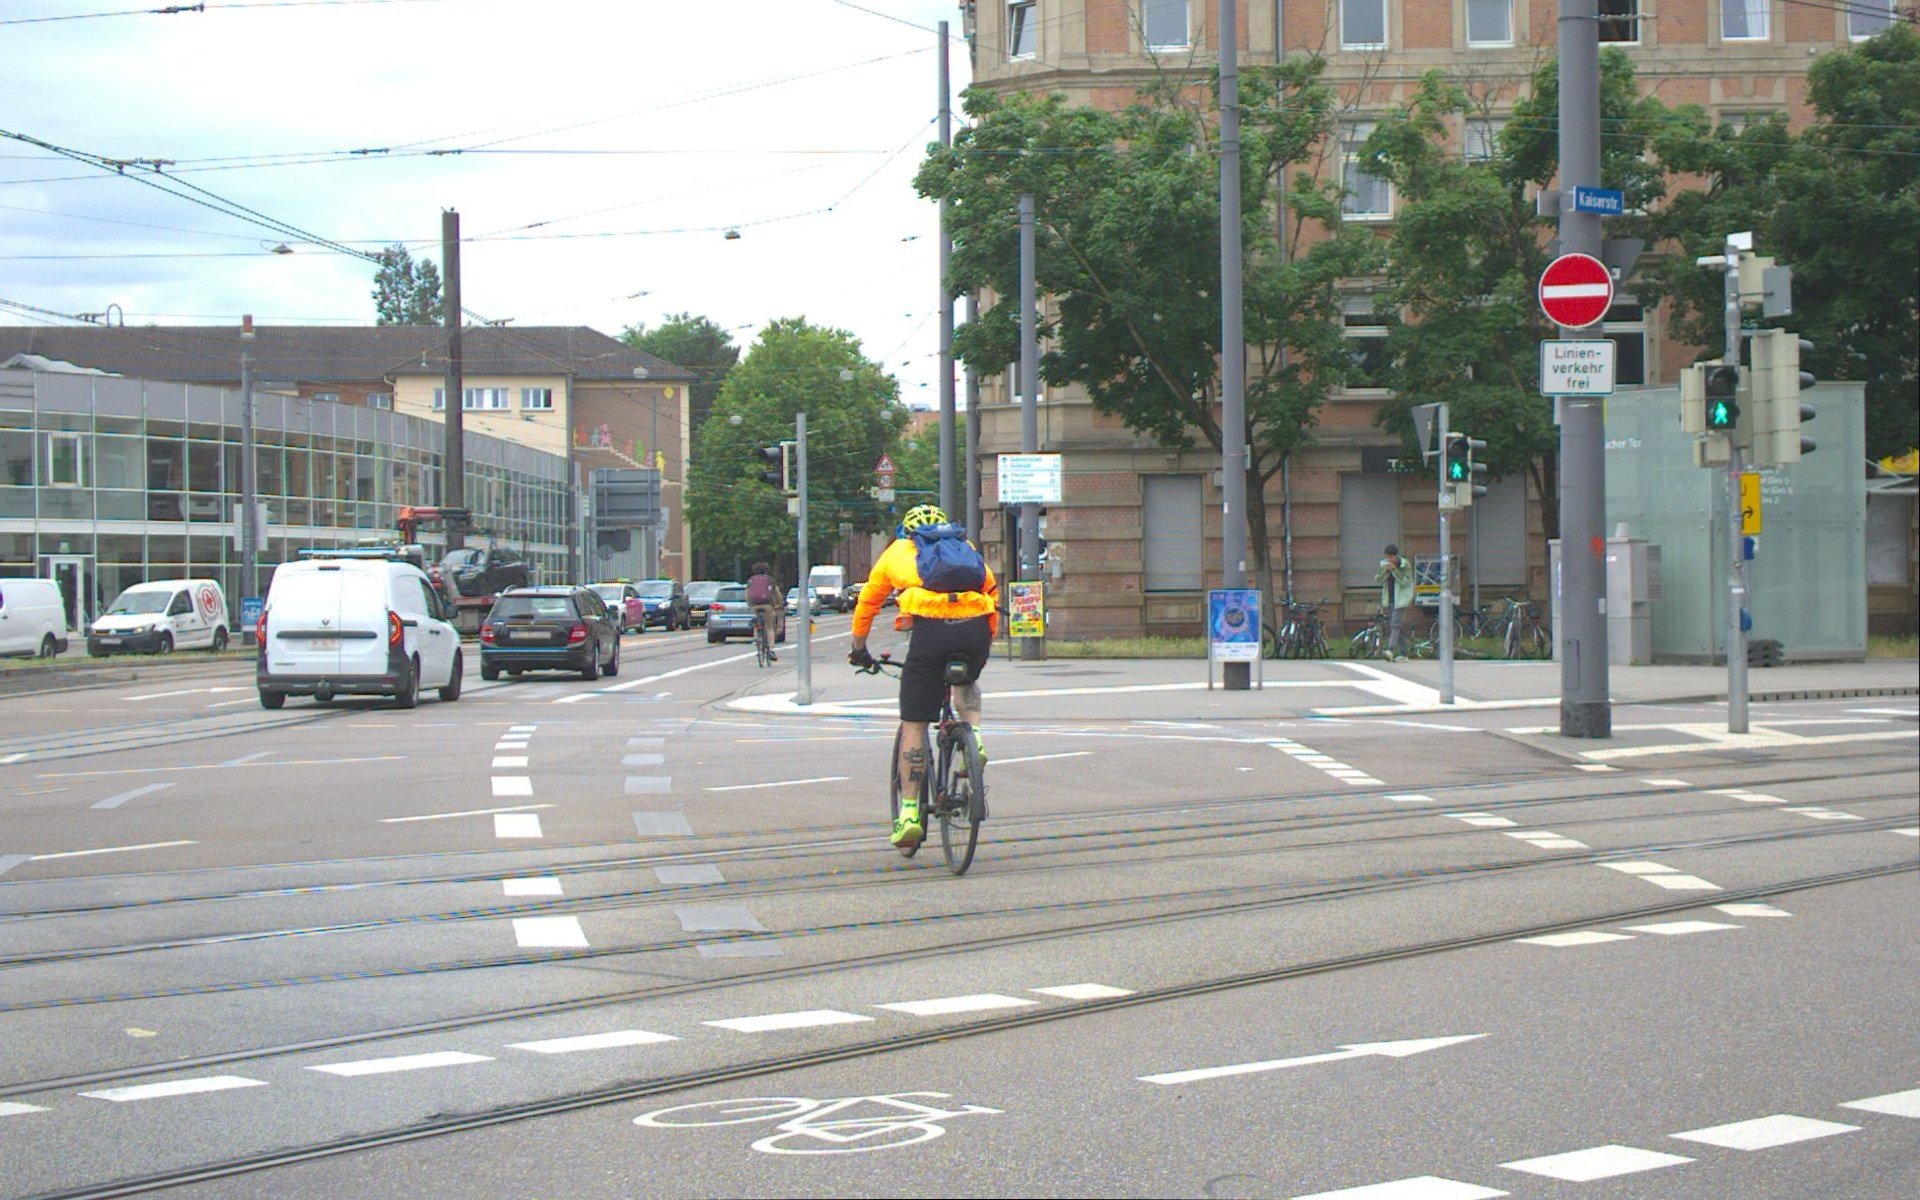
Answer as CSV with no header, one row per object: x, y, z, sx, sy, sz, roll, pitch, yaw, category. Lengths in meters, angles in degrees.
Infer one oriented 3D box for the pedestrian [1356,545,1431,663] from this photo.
6.395,0.052,50.728,0.909,1.722,0.603,0,0,-17,pedestrian

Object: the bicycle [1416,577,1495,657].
8.637,0.298,59.802,0.958,1.349,3.118,1,0,16,bicycle

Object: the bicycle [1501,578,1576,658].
10.104,0.313,59.936,0.958,1.349,3.118,1,0,16,bicycle

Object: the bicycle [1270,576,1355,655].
6.195,0.273,60.204,0.958,1.349,3.118,1,0,16,bicycle

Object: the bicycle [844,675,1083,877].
-0.016,0.808,16.420,0.556,0.845,2.074,-1,0,-17,bicycle

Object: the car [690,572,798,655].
-5.430,0.338,86.837,1.994,2.007,3.999,1,0,7,car

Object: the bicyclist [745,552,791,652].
-3.321,0.033,59.391,0.687,1.702,0.799,-1,0,-9,bicyclist

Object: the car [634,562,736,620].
-8.974,-0.304,112.564,1.995,1.832,4.520,0,0,14,car

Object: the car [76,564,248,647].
-18.250,0.109,78.851,1.995,1.832,4.520,0,0,14,car

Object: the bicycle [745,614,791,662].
-3.316,0.649,59.382,0.619,0.791,1.592,-1,0,-9,bicycle

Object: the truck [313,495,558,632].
-14.127,-0.929,93.519,2.796,3.537,9.215,1,0,17,truck

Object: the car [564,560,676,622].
-10.381,-0.281,105.205,1.995,1.832,4.520,0,0,14,car

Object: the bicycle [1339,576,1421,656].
7.341,0.284,60.006,0.958,1.349,3.118,1,0,16,bicycle

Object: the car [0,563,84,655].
-20.137,0.180,70.247,2.158,1.850,5.444,0,0,12,car

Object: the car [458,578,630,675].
-6.345,0.374,52.813,1.994,1.415,4.000,-1,0,2,car

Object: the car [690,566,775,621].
-7.867,-0.239,119.326,1.994,1.832,4.521,0,0,9,car

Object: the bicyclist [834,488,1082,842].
-0.027,0.293,16.473,0.827,1.615,1.322,-1,0,-17,bicyclist

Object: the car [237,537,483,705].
-7.229,0.223,41.808,1.913,1.934,4.130,0,0,5,car
